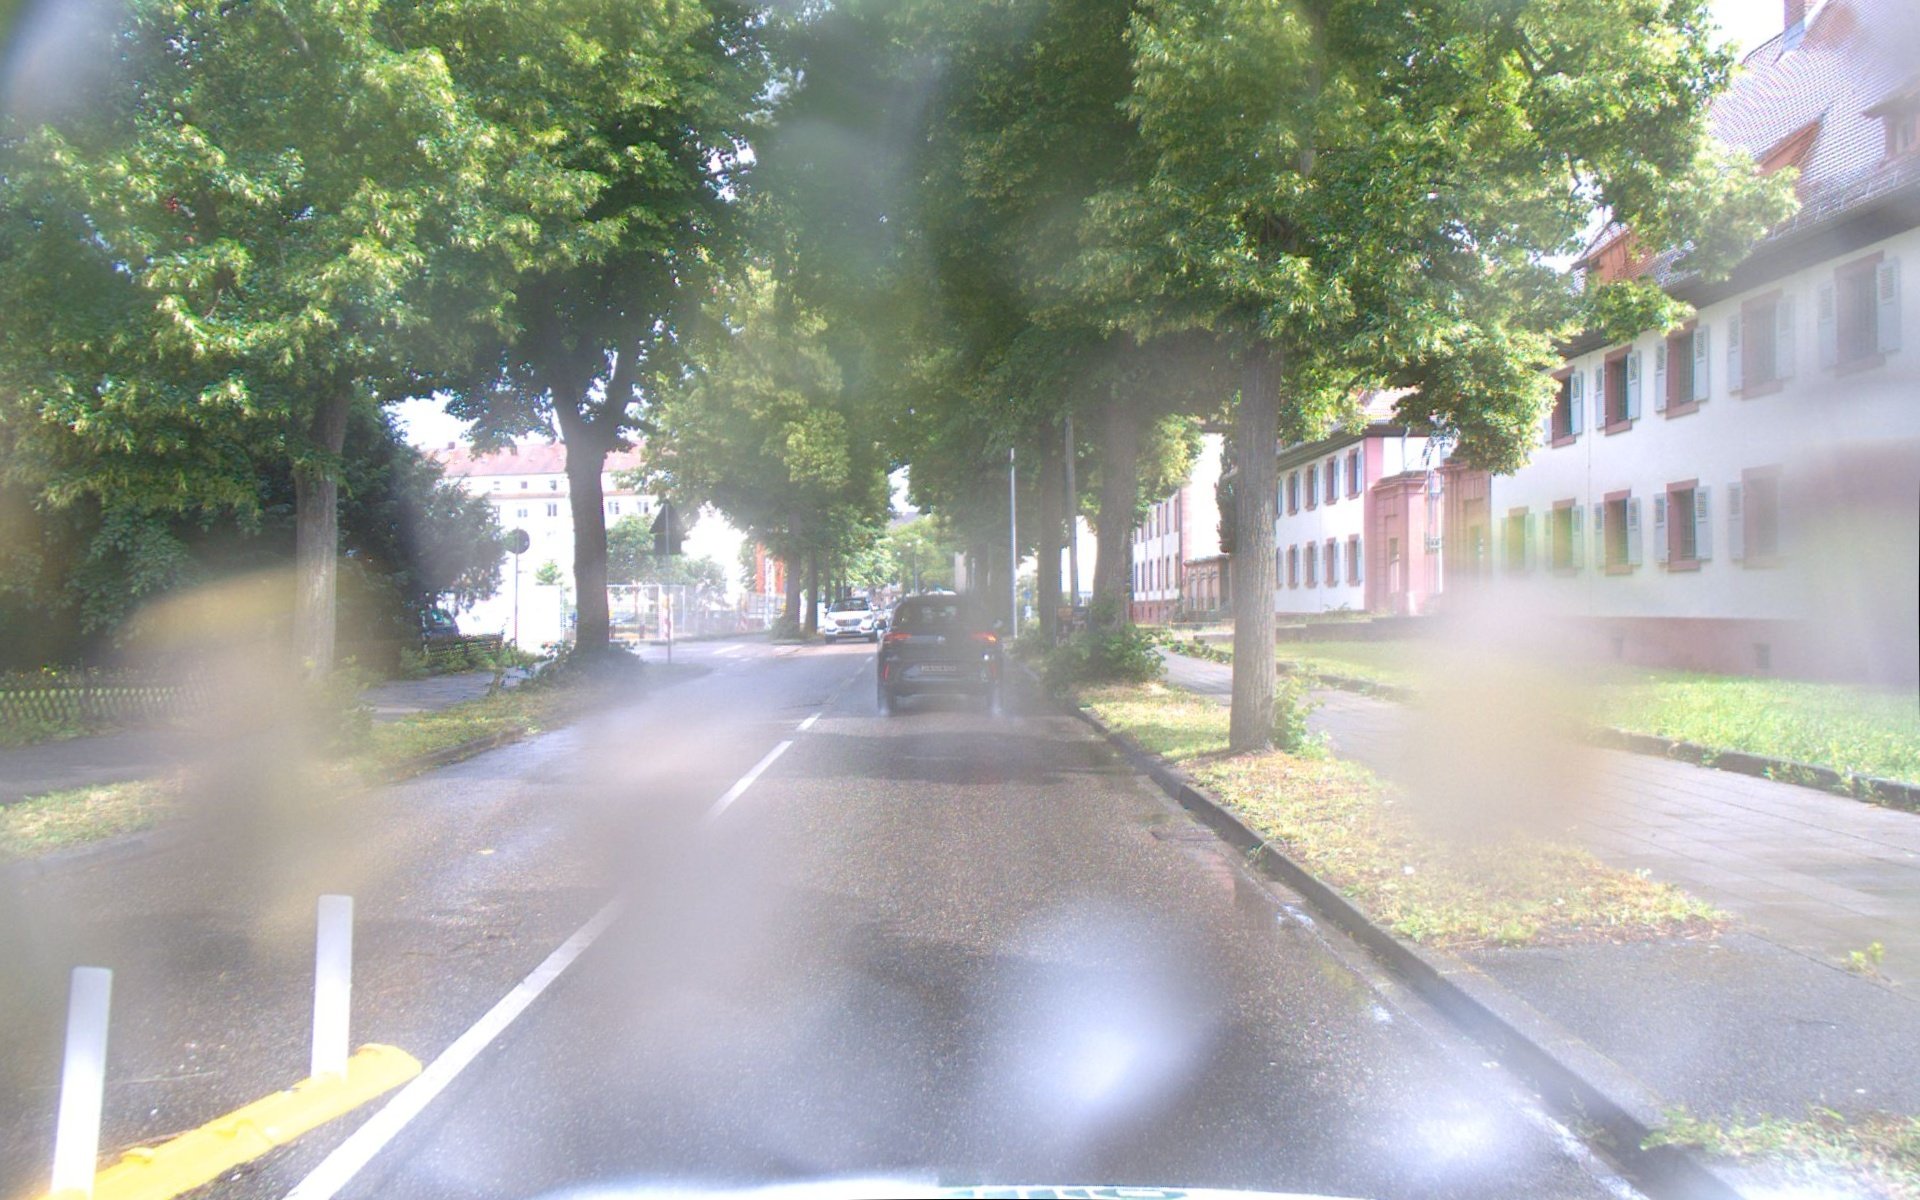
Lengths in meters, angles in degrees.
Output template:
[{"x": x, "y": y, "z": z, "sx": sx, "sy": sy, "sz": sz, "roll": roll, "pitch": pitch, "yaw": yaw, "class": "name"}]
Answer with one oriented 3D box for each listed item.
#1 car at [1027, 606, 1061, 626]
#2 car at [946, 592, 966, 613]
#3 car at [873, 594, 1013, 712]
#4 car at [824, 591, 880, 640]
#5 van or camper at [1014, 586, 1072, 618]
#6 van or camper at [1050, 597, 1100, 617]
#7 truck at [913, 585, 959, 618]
[{"x": 8.931, "y": 1.695, "z": 175.493, "sx": 3.335, "sy": 1.812, "sz": 1.761, "roll": -4, "pitch": -1, "yaw": 8, "class": "car"}, {"x": -0.430, "y": 0.287, "z": 191.763, "sx": 1.952, "sy": 2.049, "sz": 4.000, "roll": -3, "pitch": -4, "yaw": 3, "class": "car"}, {"x": -0.286, "y": 0.713, "z": 23.808, "sx": 1.856, "sy": 1.549, "sz": 3.998, "roll": 0, "pitch": 0, "yaw": -2, "class": "car"}, {"x": -4.051, "y": 0.575, "z": 62.540, "sx": 1.848, "sy": 1.743, "sz": 4.229, "roll": -1, "pitch": 0, "yaw": -1, "class": "car"}, {"x": 7.317, "y": 0.188, "z": 146.692, "sx": 4.931, "sy": 2.641, "sz": 2.167, "roll": -1, "pitch": -1, "yaw": -2, "class": "van or camper"}, {"x": 11.384, "y": 0.684, "z": 163.535, "sx": 4.775, "sy": 1.959, "sz": 2.131, "roll": 0, "pitch": 0, "yaw": -1, "class": "van or camper"}, {"x": -2.103, "y": 0.104, "z": 142.709, "sx": 2.754, "sy": 2.703, "sz": 8.221, "roll": 0, "pitch": 0, "yaw": -10, "class": "truck"}]
